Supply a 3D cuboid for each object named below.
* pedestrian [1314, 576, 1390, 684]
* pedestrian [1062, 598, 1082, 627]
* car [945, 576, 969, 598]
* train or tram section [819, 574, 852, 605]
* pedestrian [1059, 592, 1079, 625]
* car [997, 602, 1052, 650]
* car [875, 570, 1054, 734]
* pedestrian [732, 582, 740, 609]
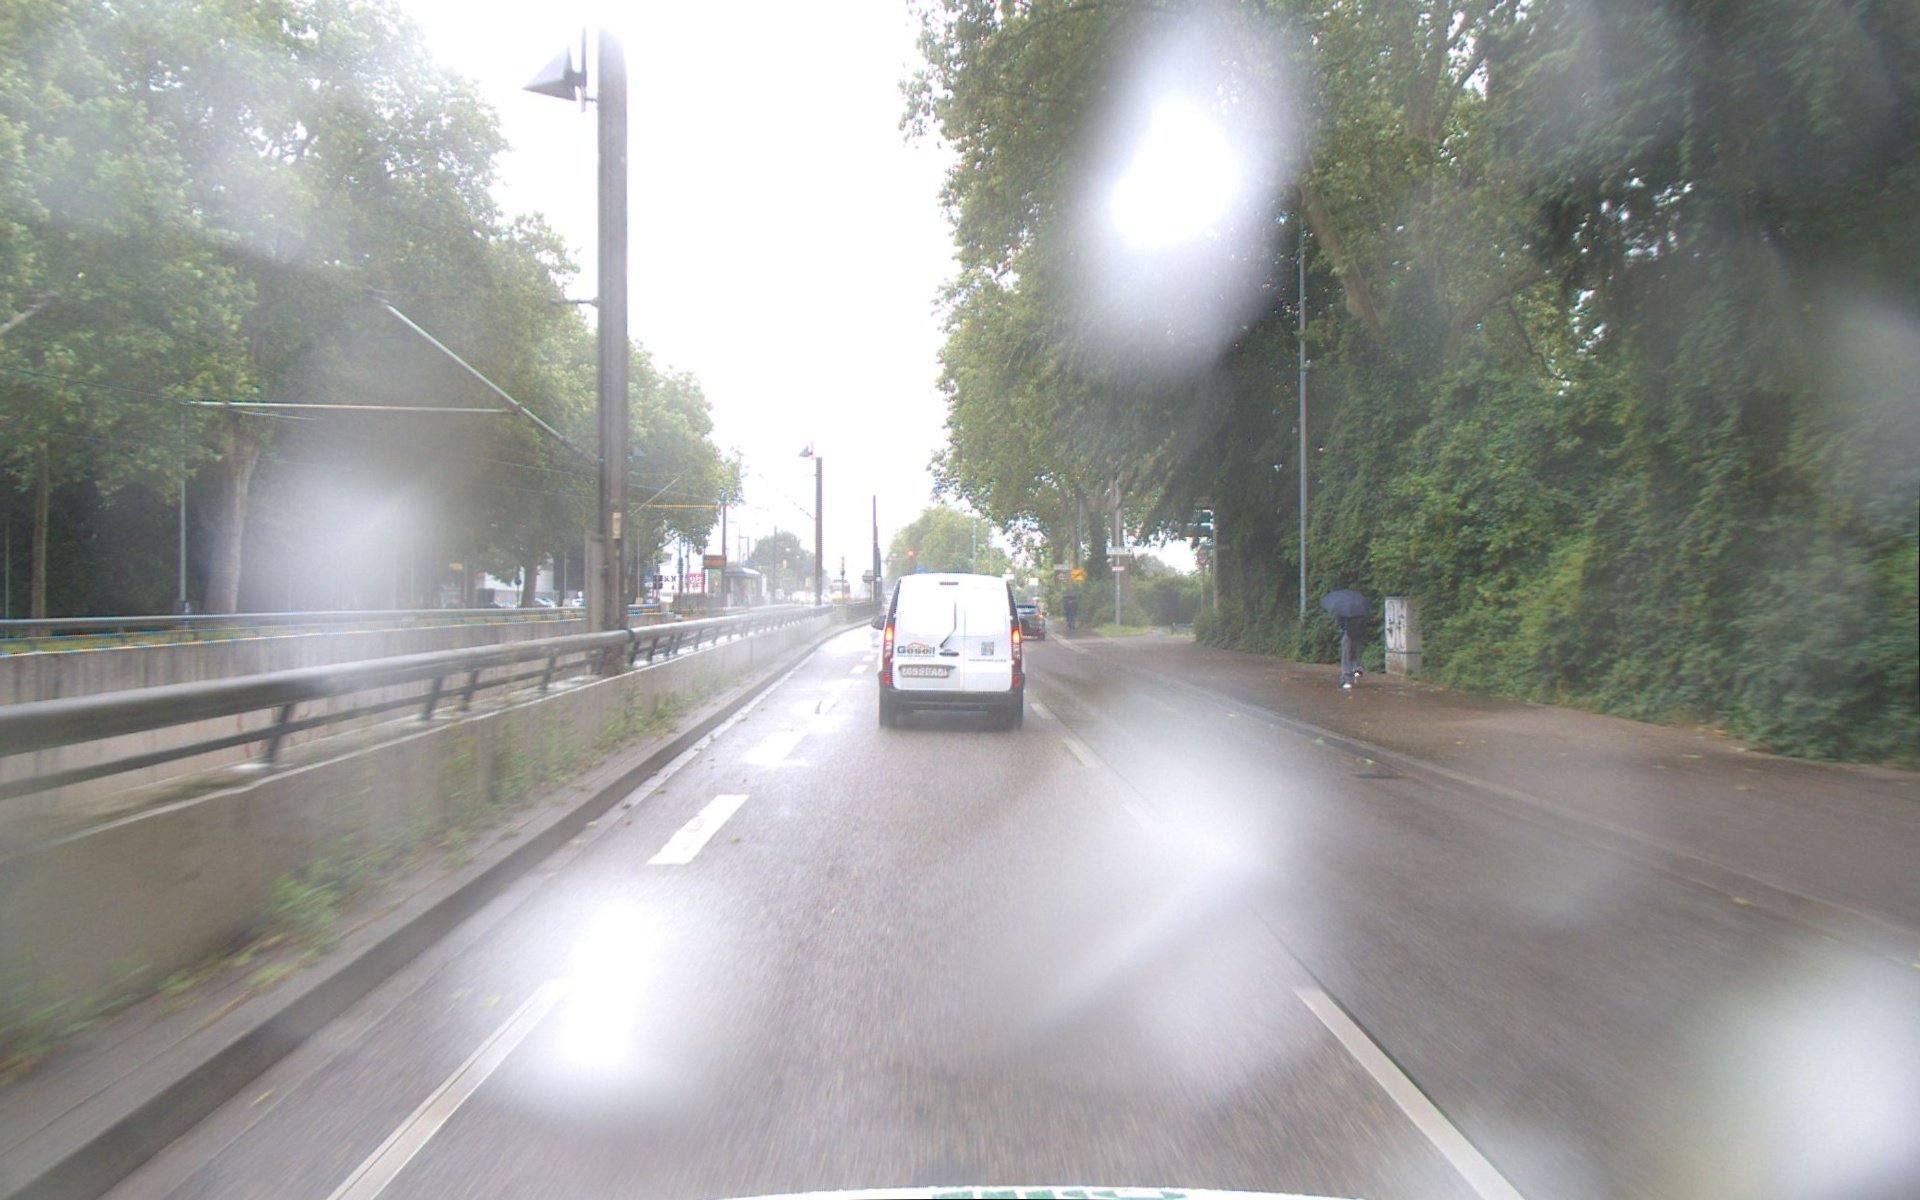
[{"bbox_3d":[6.515,0.490,27.538,0.947,1.732,1.140,1,0,-2],"label":"pedestrian"},{"bbox_3d":[5.462,0.600,81.025,0.874,1.414,1.016,-2,0,0],"label":"pedestrian"},{"bbox_3d":[-0.232,-1.131,141.898,1.953,1.780,3.999,2,0,-1],"label":"car"},{"bbox_3d":[-17.831,-1.410,238.582,3.694,4.107,27.080,2,0,-2],"label":"train or tram section"},{"bbox_3d":[5.468,0.418,83.074,0.927,1.617,1.294,-1,0,0],"label":"pedestrian"},{"bbox_3d":[2.485,0.985,64.868,1.953,1.780,4.000,2,0,0],"label":"car"},{"bbox_3d":[-0.050,0.587,20.908,1.984,1.806,4.272,2,0,-3],"label":"car"},{"bbox_3d":[-17.564,-0.356,129.641,0.485,2.049,0.580,2,0,-14],"label":"pedestrian"}]
